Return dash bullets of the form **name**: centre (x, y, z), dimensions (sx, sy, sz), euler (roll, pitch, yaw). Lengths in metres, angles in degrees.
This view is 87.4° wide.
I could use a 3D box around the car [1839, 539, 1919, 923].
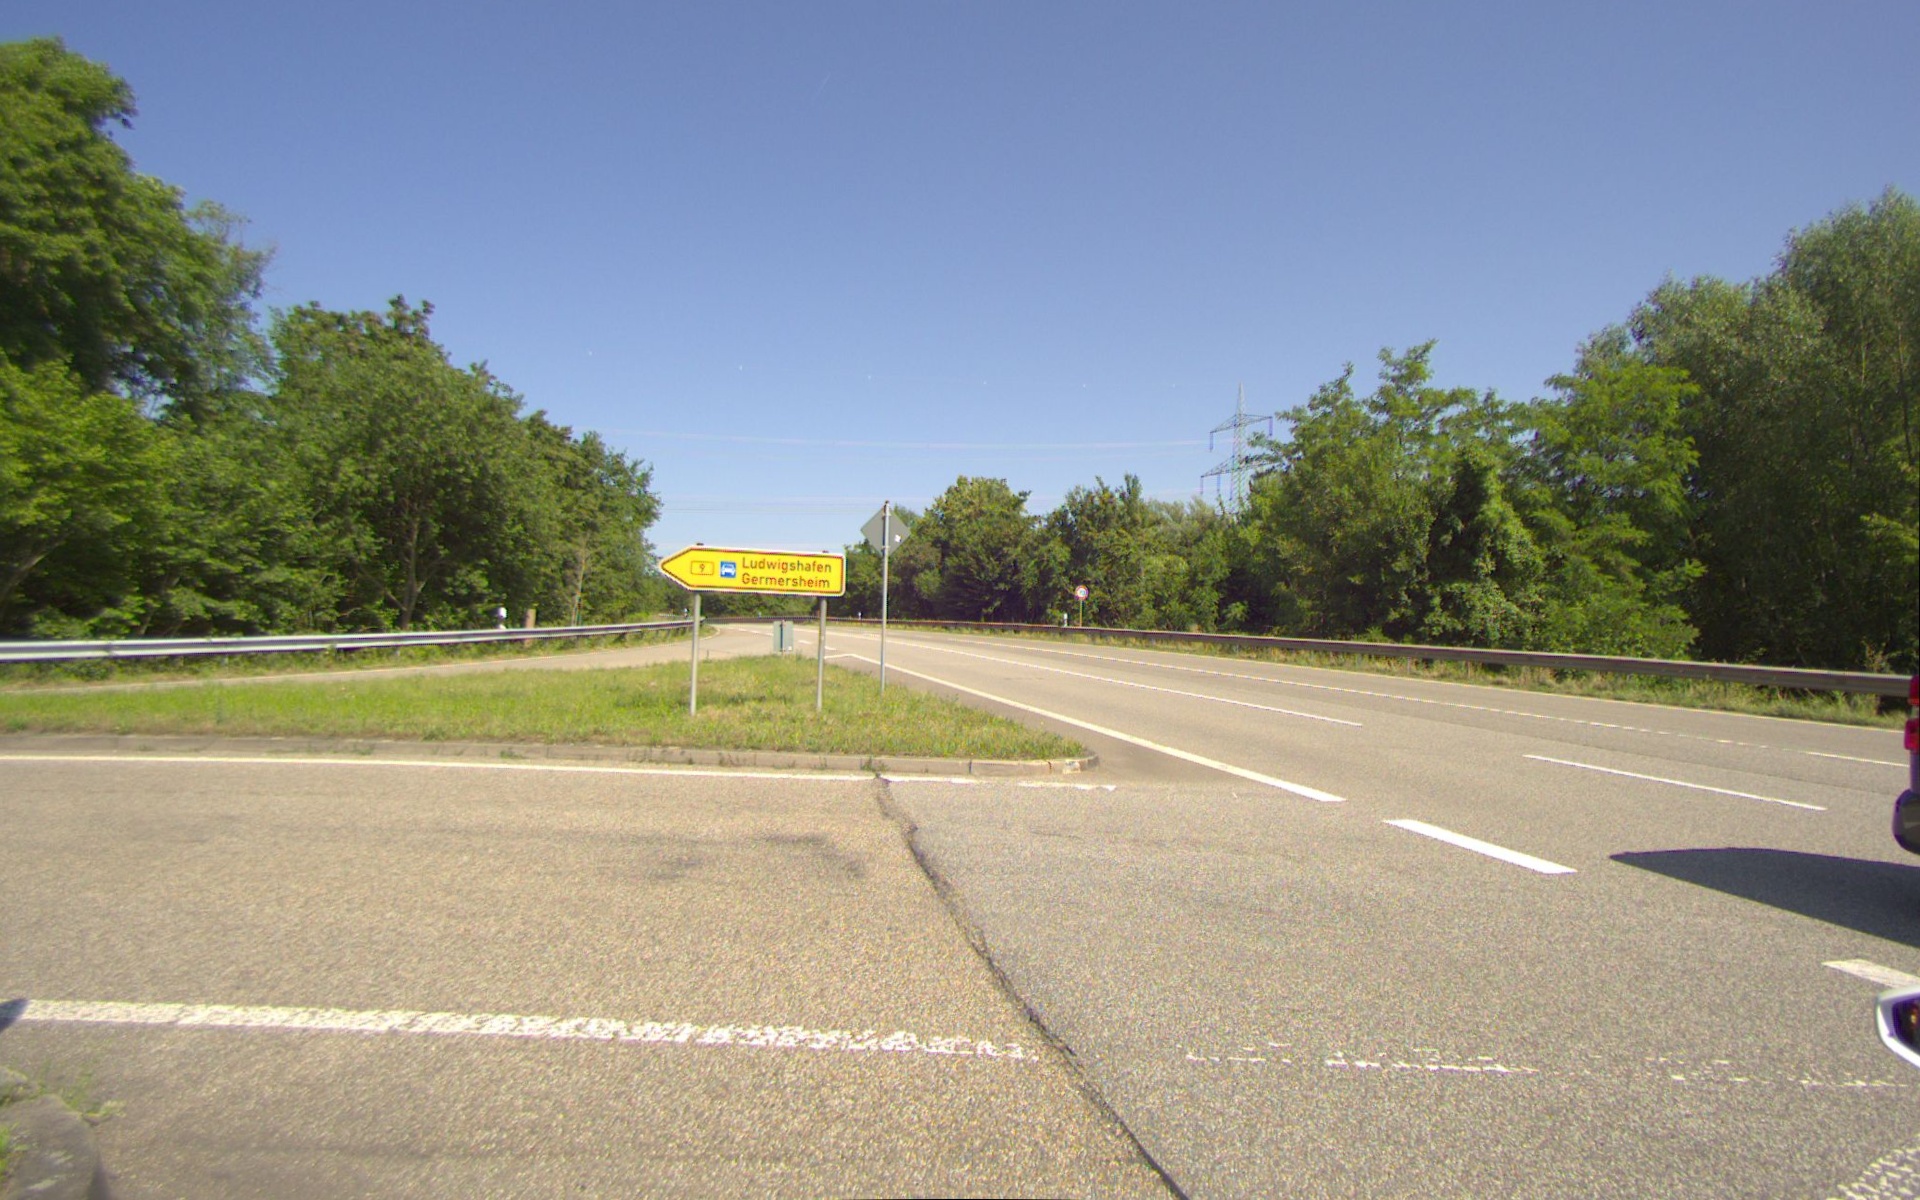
- **car**: centre (6.203, 0.647, 3.155), dimensions (1.966, 1.904, 4.981), euler (1, 0, -13)
